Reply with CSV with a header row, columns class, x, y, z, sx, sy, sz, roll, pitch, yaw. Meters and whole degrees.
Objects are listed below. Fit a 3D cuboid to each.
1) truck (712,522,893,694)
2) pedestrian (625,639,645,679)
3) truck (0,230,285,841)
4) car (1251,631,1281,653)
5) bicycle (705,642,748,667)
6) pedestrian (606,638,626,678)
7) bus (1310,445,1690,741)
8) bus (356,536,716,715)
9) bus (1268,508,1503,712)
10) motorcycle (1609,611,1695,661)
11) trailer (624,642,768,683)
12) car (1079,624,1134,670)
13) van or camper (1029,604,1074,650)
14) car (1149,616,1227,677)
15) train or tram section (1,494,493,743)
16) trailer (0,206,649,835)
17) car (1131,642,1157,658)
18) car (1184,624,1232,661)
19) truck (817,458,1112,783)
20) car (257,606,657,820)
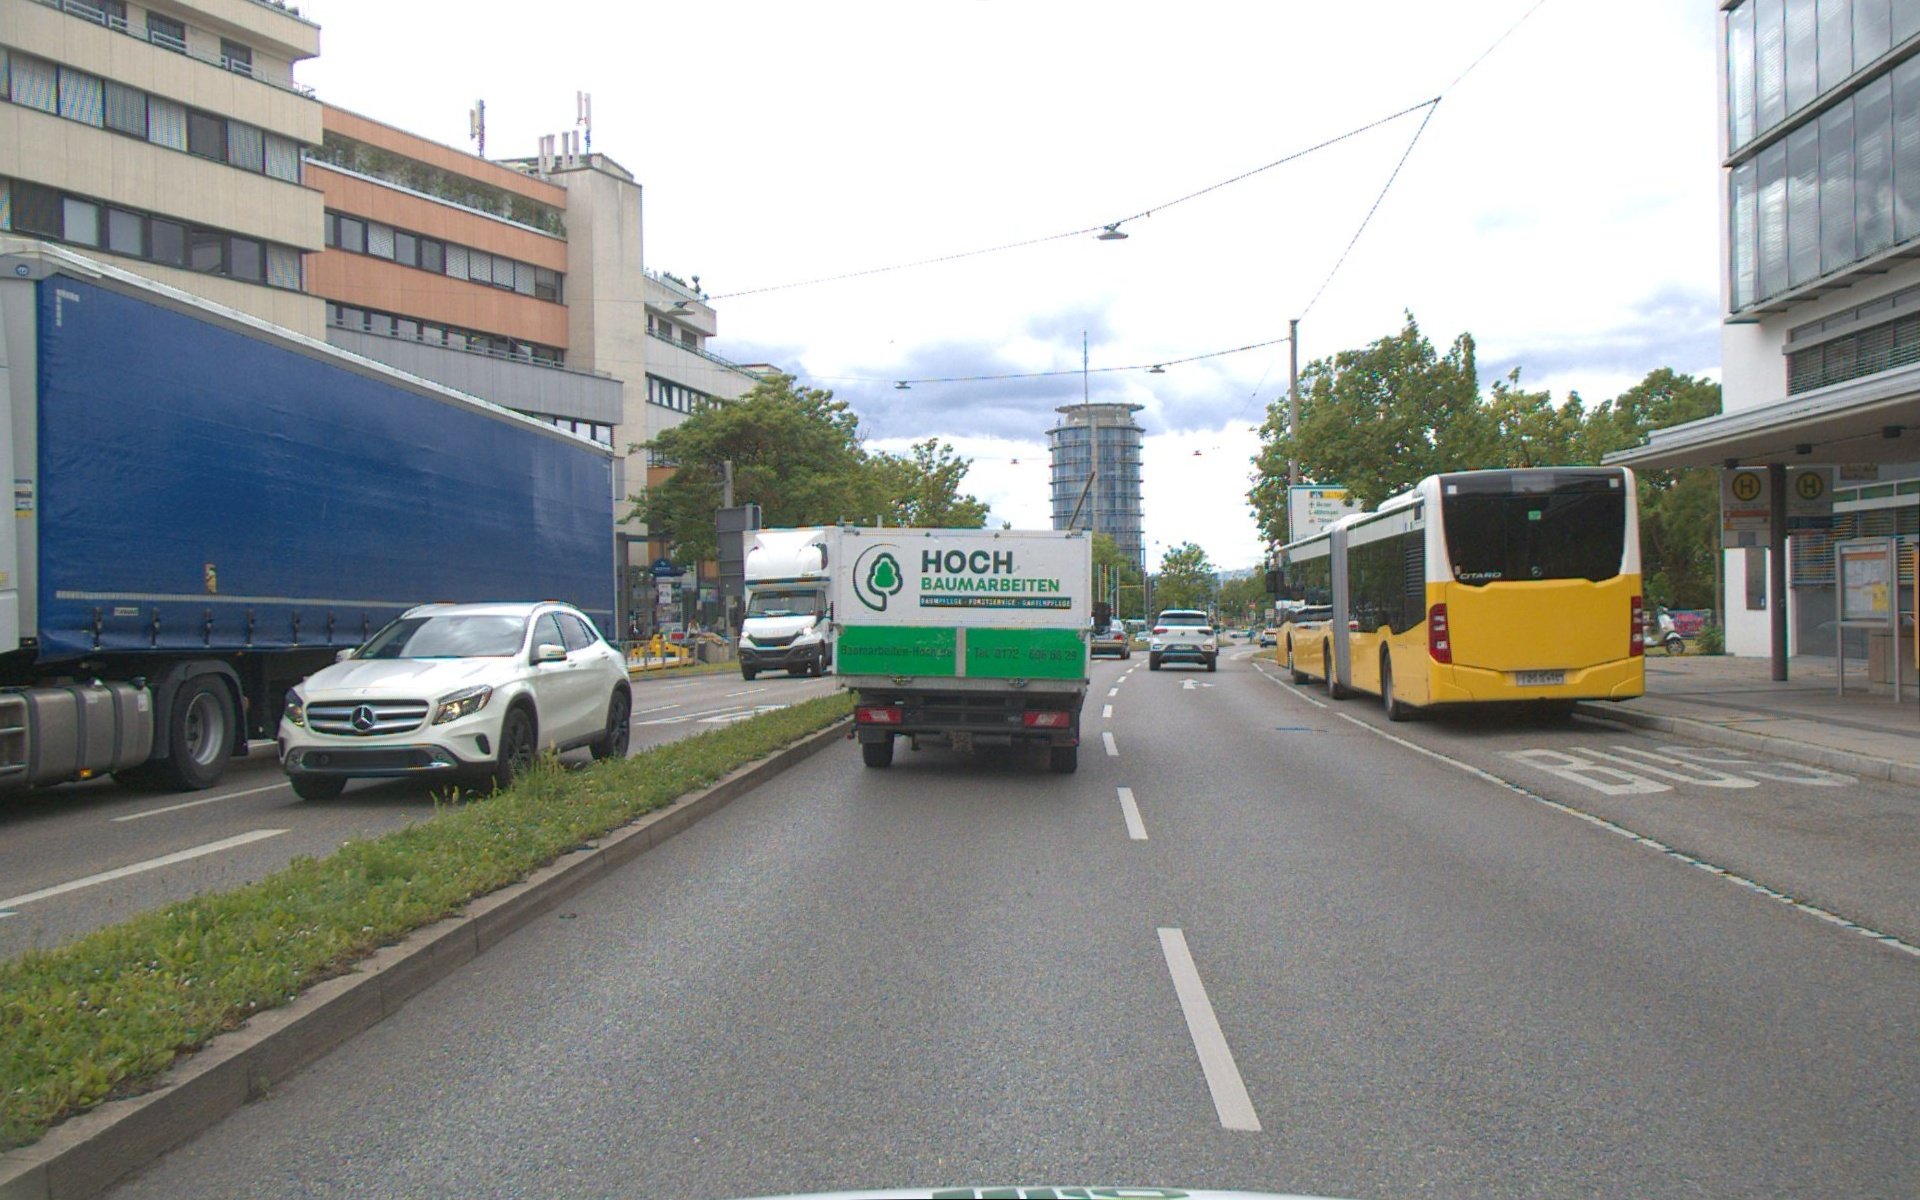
class,x,y,z,sx,sy,sz,roll,pitch,yaw
truck,-3.915,0.254,43.633,2.876,4.027,9.170,-1,-1,7
pedestrian,-13.012,2.354,66.204,0.586,1.601,0.621,-1,-2,6
truck,-7.870,-0.408,11.840,3.025,4.092,6.159,-1,-1,6
car,22.717,3.131,122.893,1.951,1.579,4.002,-2,-2,8
bicycle,-11.241,2.631,79.685,1.995,1.182,0.666,0,-2,-35
pedestrian,-13.790,2.311,66.287,0.586,1.601,0.621,-1,-2,6
bus,7.150,0.022,23.589,2.972,3.292,9.342,-2,-1,5
bus,-10.966,0.790,46.821,3.795,3.927,19.350,-1,-1,4
bus,7.998,0.280,32.463,2.919,3.298,9.871,2,-1,6
motorcycle,16.327,0.849,39.055,0.813,1.134,1.725,-1,-1,-28
trailer,-10.031,2.353,64.506,2.781,1.356,12.131,-1,-1,4
car,5.169,1.637,58.437,1.828,1.532,4.775,-1,-1,5
van or camper,5.616,1.668,100.737,1.951,2.644,6.120,-3,-2,9
car,6.101,1.219,44.718,1.828,1.532,4.775,-1,-1,5
train or tram section,-12.284,0.341,30.491,2.699,3.648,12.010,-1,-1,6
trailer,-7.229,-0.482,18.947,3.036,4.344,14.856,-1,0,6
car,18.947,5.137,170.127,1.951,1.512,4.002,-2,-2,15
car,10.955,1.853,73.299,1.828,1.532,4.775,-1,-1,5
truck,0.227,0.203,16.851,2.419,2.657,6.550,0,-1,3
car,-4.088,0.842,14.266,1.748,1.542,4.366,-1,0,5
